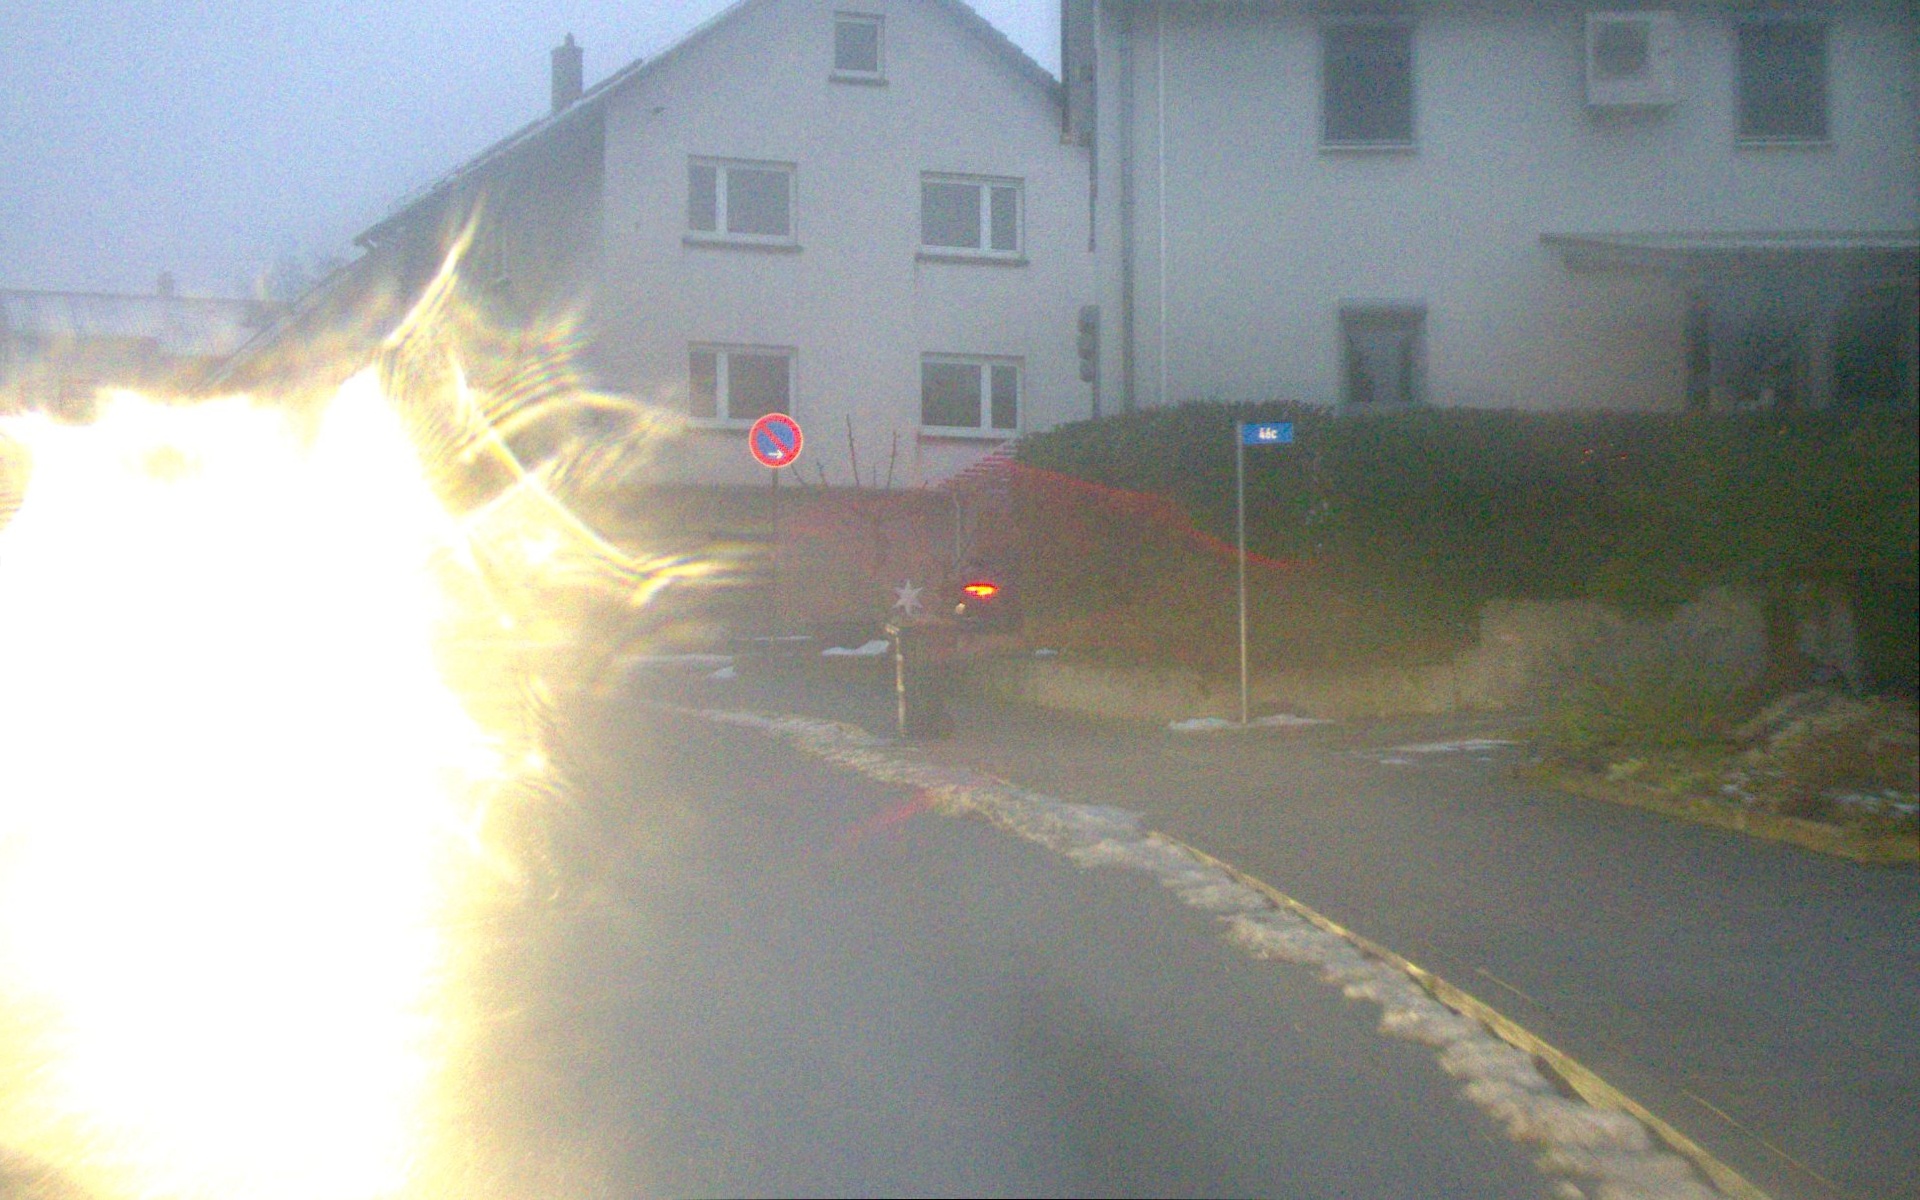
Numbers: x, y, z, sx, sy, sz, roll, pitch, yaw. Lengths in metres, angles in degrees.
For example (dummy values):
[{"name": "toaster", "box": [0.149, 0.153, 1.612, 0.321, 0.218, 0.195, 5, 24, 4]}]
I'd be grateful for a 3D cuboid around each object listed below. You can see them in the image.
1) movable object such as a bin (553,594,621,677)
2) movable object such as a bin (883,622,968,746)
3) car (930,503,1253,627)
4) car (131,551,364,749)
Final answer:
[{"name": "movable object such as a bin", "box": [-4.174, 0.396, 38.469, 0.637, 0.914, 0.686, 1, 0, -16]}, {"name": "movable object such as a bin", "box": [-0.271, 0.647, 26.728, 0.537, 0.935, 0.689, 1, 1, -10]}, {"name": "car", "box": [1.785, -0.482, 47.227, 3.986, 1.612, 2.001, 1, 1, -16]}, {"name": "car", "box": [-7.774, 0.486, 37.931, 2.110, 2.020, 4.984, 0, 1, -7]}]
